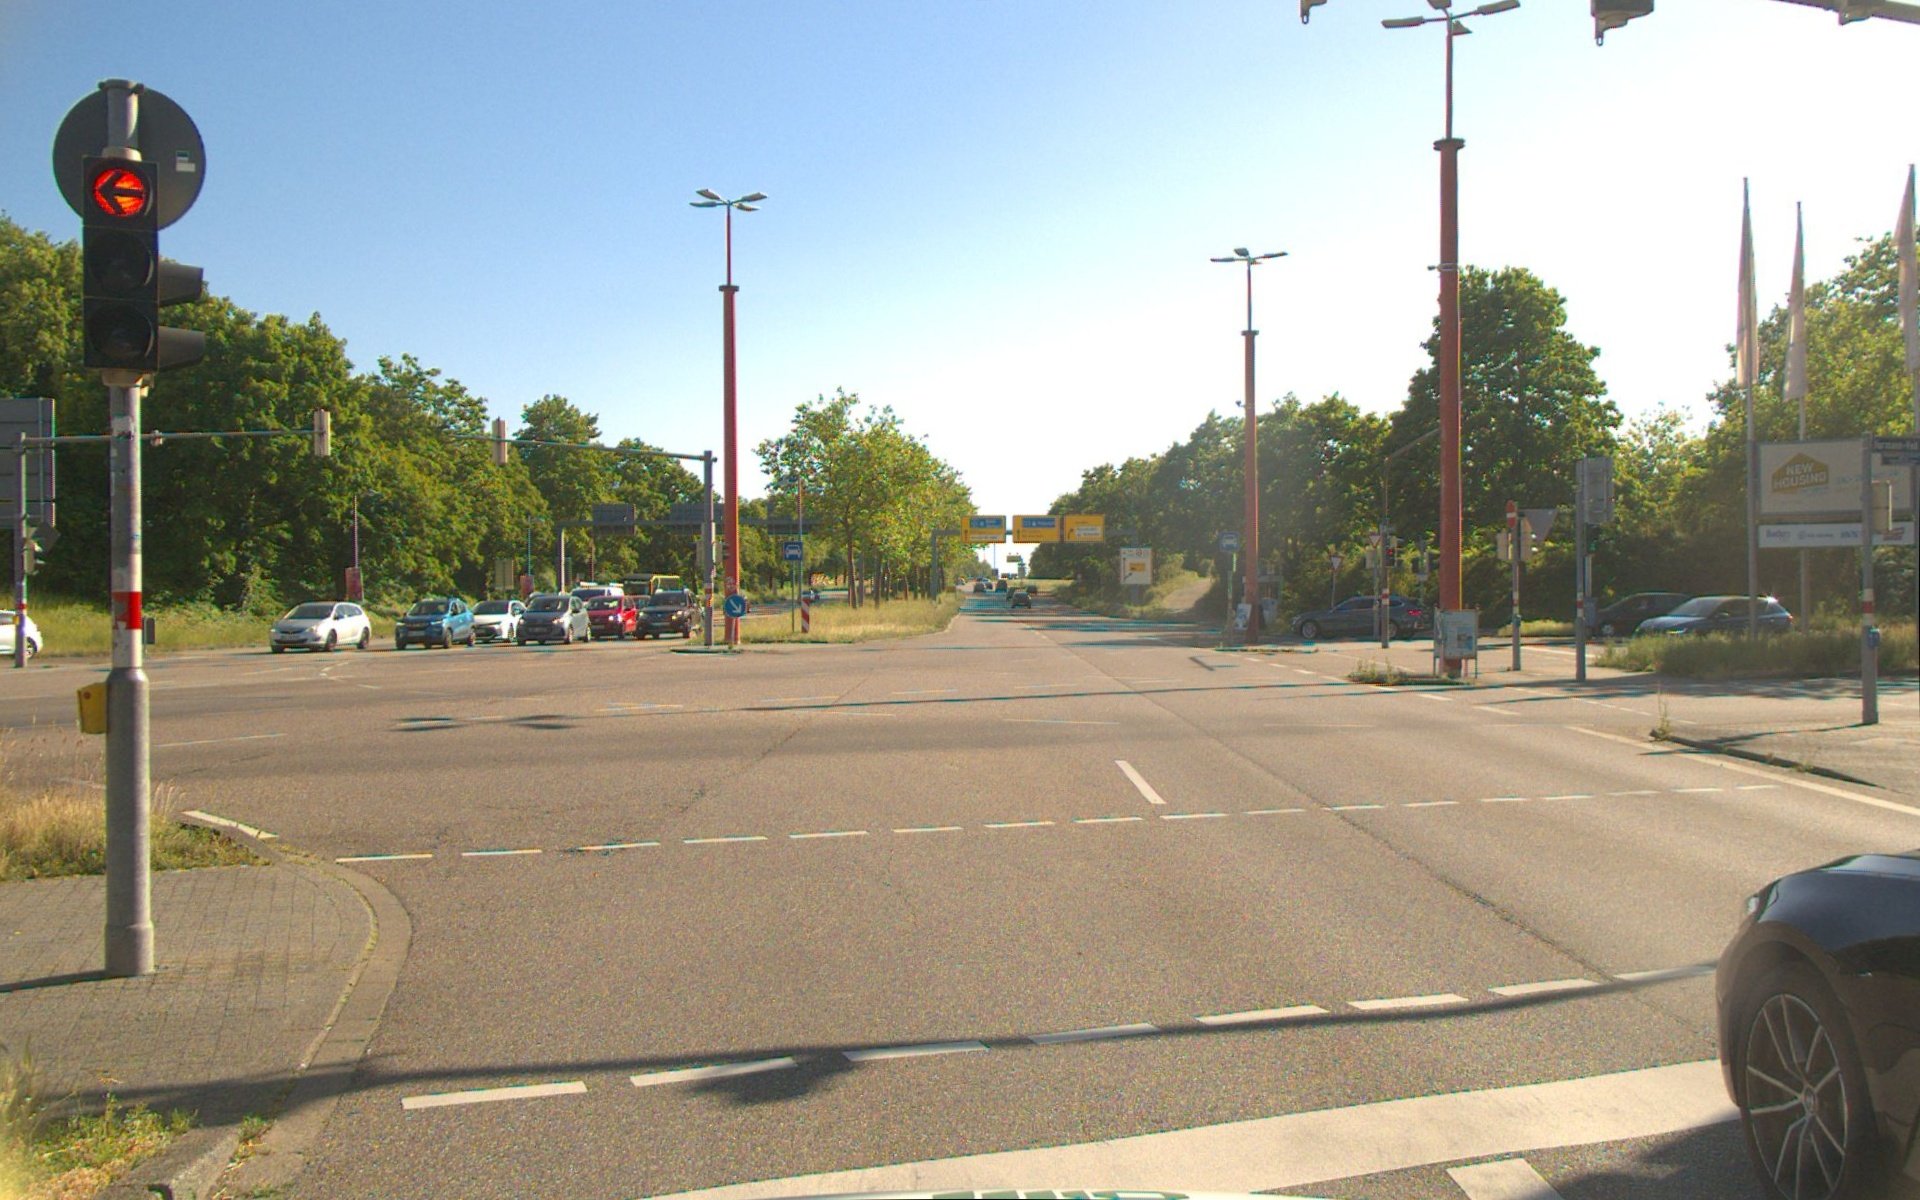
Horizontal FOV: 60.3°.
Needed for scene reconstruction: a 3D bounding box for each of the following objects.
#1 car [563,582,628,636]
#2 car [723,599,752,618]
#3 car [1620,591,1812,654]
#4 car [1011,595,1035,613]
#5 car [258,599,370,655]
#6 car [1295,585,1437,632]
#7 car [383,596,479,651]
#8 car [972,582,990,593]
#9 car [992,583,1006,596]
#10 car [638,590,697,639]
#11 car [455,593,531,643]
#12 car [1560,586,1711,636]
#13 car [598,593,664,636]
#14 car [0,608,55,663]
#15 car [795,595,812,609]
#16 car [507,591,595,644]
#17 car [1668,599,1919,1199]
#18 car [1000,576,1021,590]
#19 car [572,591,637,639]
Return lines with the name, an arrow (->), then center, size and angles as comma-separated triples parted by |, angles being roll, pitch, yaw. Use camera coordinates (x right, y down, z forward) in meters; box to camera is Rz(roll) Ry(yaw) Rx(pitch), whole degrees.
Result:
car -> -15.669, 0.382, 71.270 | 2.021, 2.231, 4.376 | 0, 0, -3
car -> -17.549, 0.634, 130.746 | 1.784, 1.480, 3.656 | 0, 0, 0
car -> 18.671, 0.529, 40.875 | 4.201, 1.453, 1.874 | 0, 0, -19
car -> 5.774, 0.361, 152.519 | 2.114, 1.601, 4.281 | 0, 0, 1
car -> -19.584, 0.780, 50.303 | 1.954, 1.601, 4.118 | 0, 0, -3
car -> 14.514, 0.291, 59.137 | 4.487, 1.601, 2.160 | 0, 0, 33
car -> -16.206, 0.677, 50.896 | 1.955, 1.601, 4.116 | 0, 0, -5
car -> 3.041, -1.865, 241.990 | 2.202, 1.601, 4.276 | 0, 0, -5
car -> 6.109, -1.621, 258.306 | 1.953, 2.049, 3.999 | 0, 0, -1
car -> -9.872, 0.467, 55.996 | 1.841, 1.601, 4.113 | 0, 0, -8
car -> -15.988, 0.592, 56.789 | 1.956, 1.601, 4.113 | -1, 0, -8
car -> 22.658, 0.366, 55.616 | 4.180, 1.601, 2.165 | 0, 0, -1
car -> -12.709, 0.523, 64.052 | 1.954, 1.601, 4.117 | 0, 0, -4
car -> -27.315, 0.997, 45.447 | 1.756, 1.478, 4.223 | 0, 0, 19
car -> -17.756, 0.188, 188.060 | 1.840, 1.601, 3.943 | 0, 0, -5
car -> -12.803, 0.517, 51.970 | 1.954, 1.601, 4.118 | 0, 0, -4
car -> 2.975, 0.710, 2.366 | 1.953, 1.419, 4.476 | 0, 0, -1
car -> 5.958, -2.022, 195.979 | 2.116, 1.601, 4.277 | 0, 0, -4
car -> -12.476, 0.503, 58.276 | 1.956, 1.601, 4.113 | 0, 0, -8
